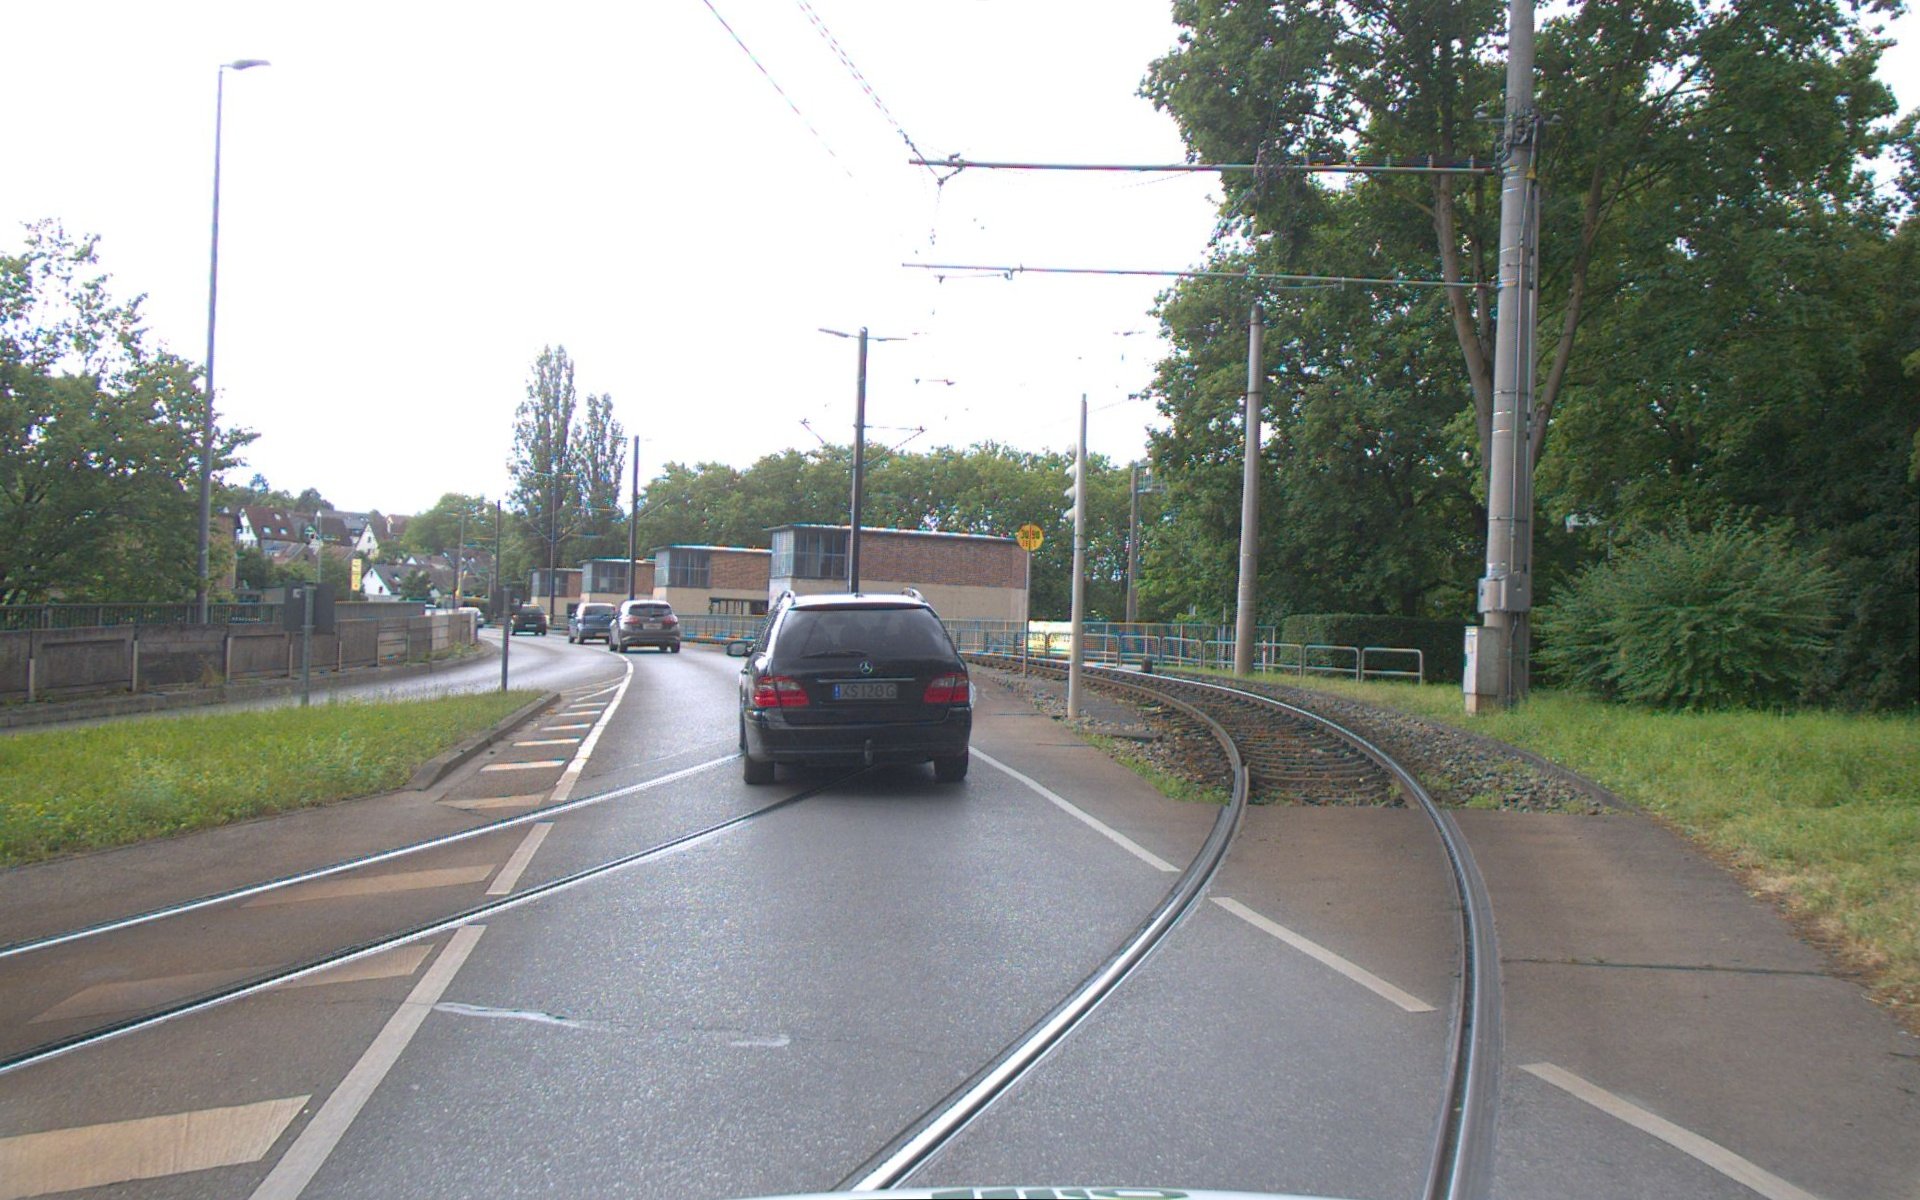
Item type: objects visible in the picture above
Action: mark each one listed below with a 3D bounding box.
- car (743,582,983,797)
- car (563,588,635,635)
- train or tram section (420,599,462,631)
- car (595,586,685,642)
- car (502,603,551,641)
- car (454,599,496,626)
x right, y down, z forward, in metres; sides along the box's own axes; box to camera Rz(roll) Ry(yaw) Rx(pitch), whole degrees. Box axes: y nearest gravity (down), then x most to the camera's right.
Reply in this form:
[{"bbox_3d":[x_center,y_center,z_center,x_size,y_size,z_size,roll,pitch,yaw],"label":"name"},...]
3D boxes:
[{"bbox_3d":[-0.792,0.624,14.130,1.724,1.542,4.440,0,0,-3],"label":"car"},{"bbox_3d":[-13.559,0.389,61.897,1.965,1.591,4.967,-1,1,-20],"label":"car"},{"bbox_3d":[-61.766,1.743,196.557,2.844,3.571,18.530,0,0,-23],"label":"train or tram section"},{"bbox_3d":[-9.610,0.419,49.441,1.747,1.583,4.209,1,-1,-23],"label":"car"},{"bbox_3d":[-20.712,1.008,78.997,1.963,1.702,4.516,-1,1,-19],"label":"car"},{"bbox_3d":[-30.524,0.761,103.955,1.966,1.598,4.871,2,-1,-22],"label":"car"}]
